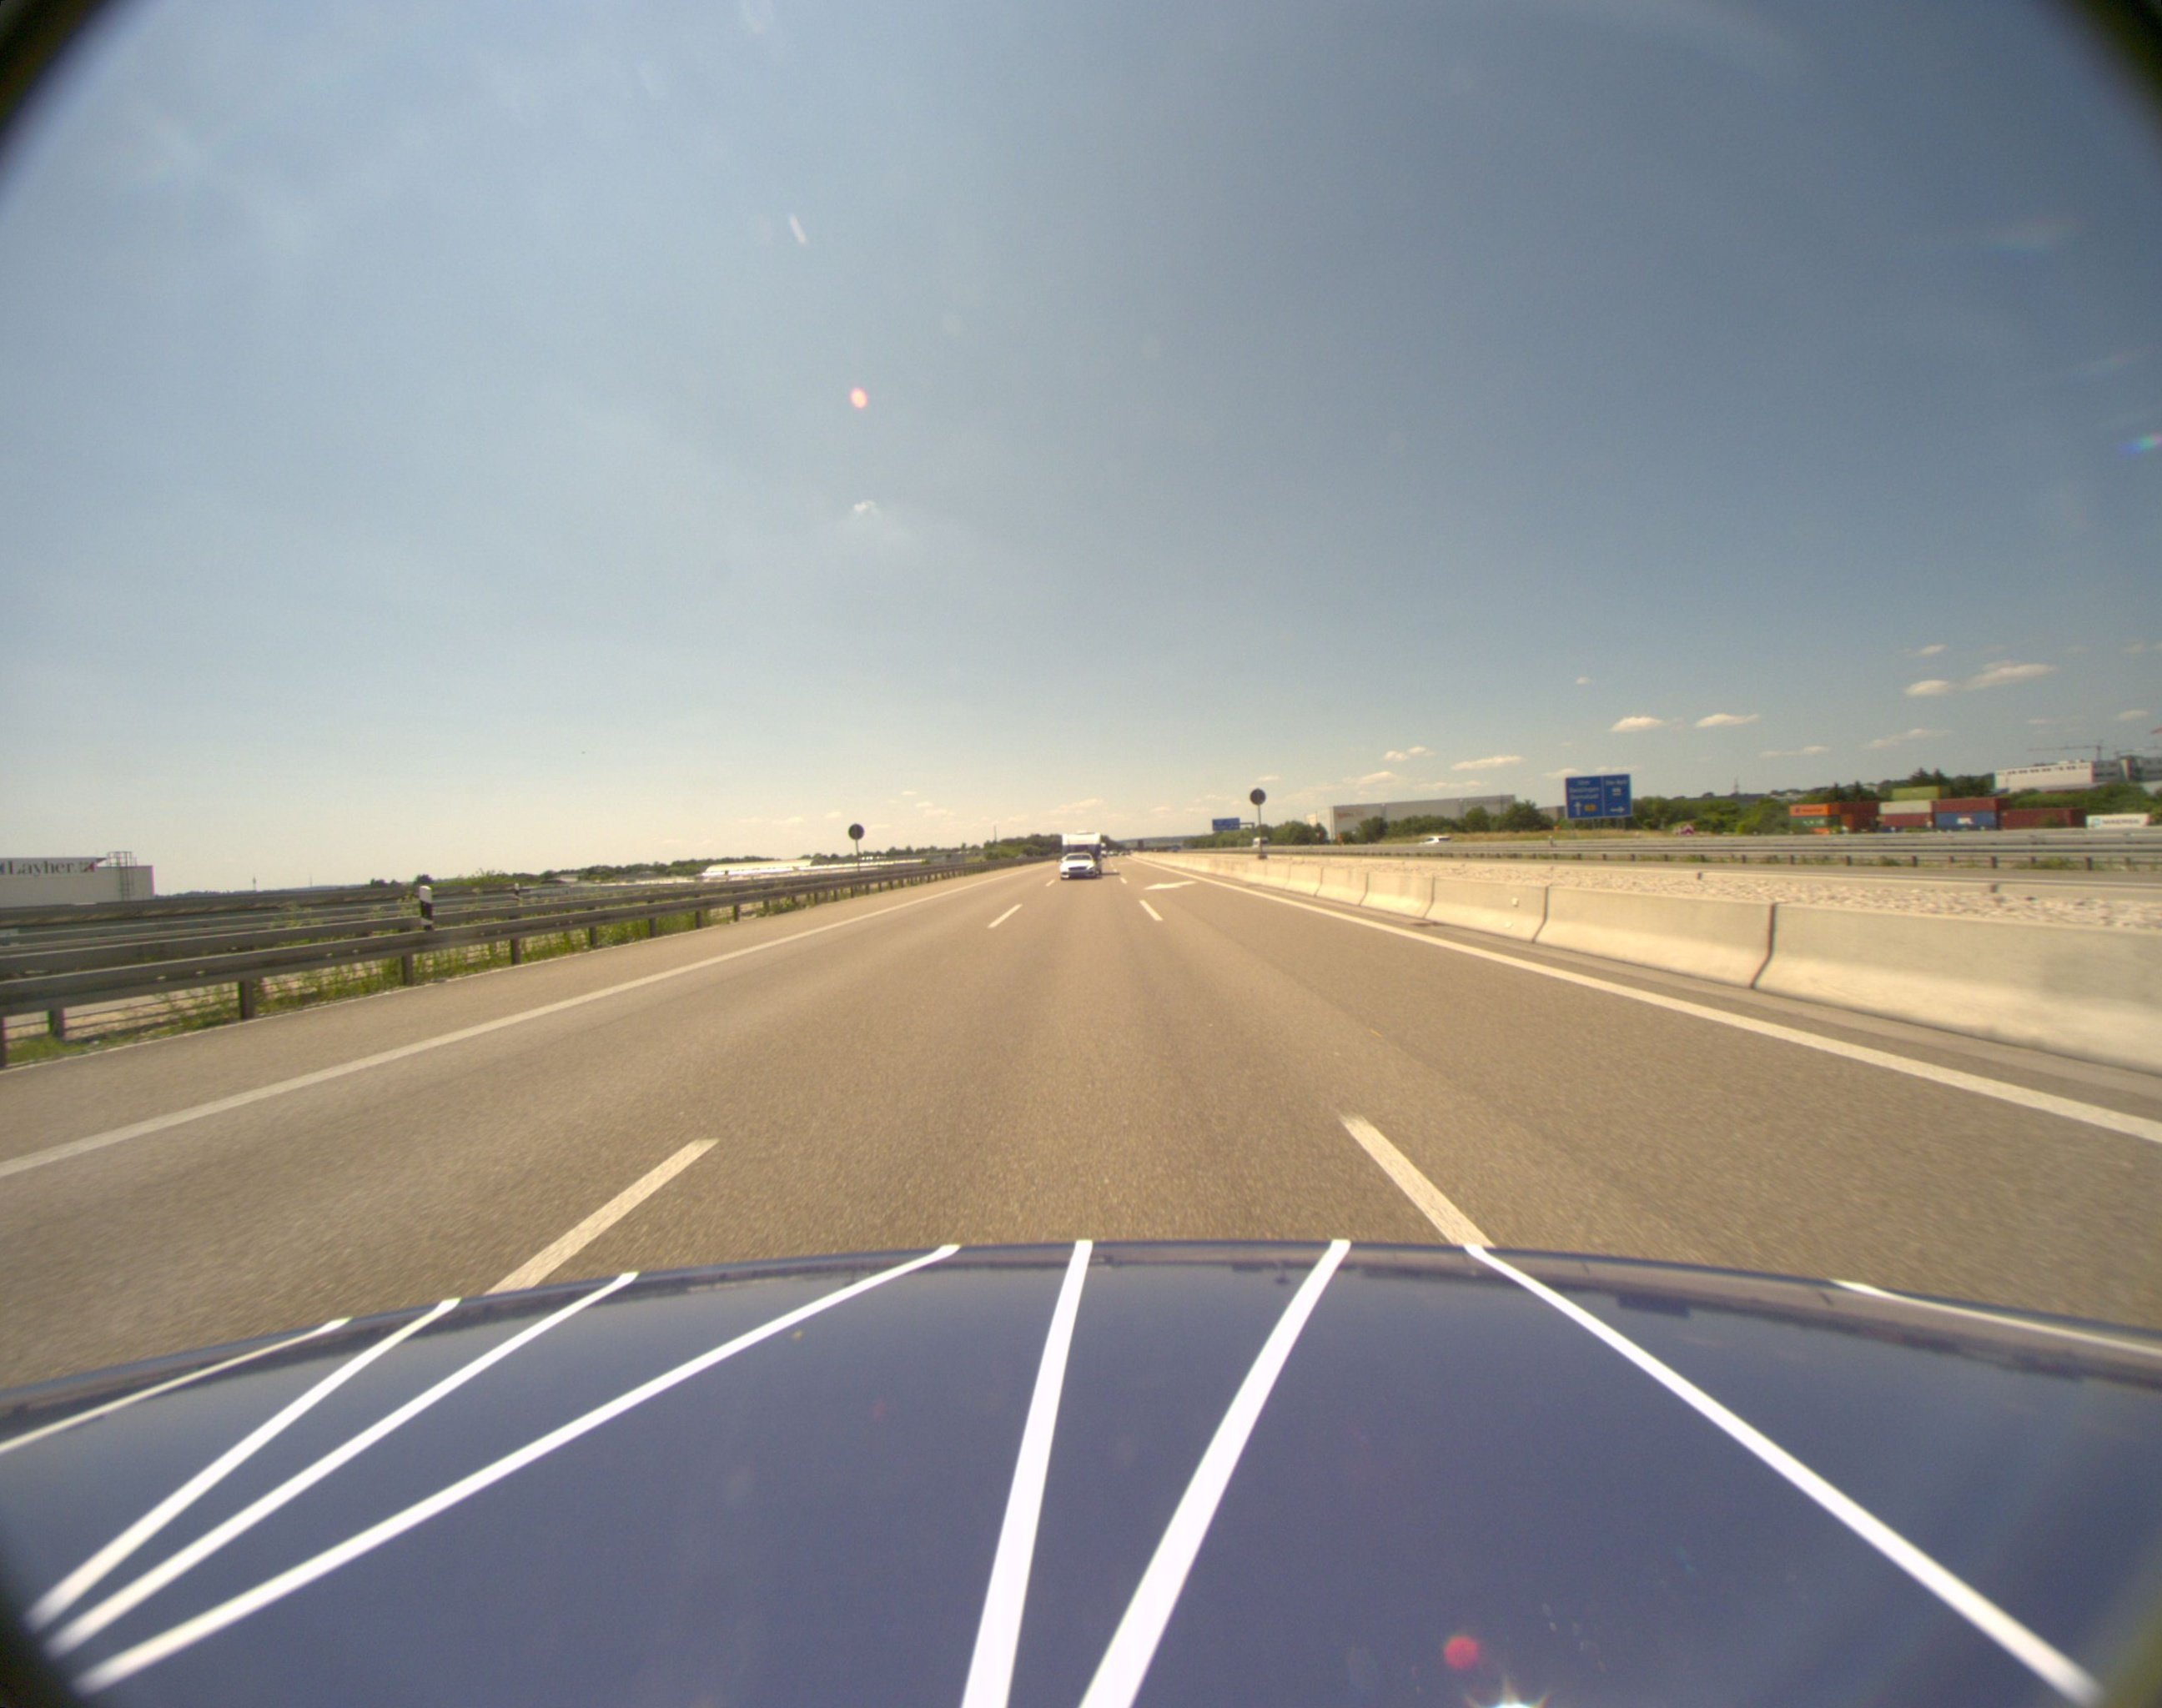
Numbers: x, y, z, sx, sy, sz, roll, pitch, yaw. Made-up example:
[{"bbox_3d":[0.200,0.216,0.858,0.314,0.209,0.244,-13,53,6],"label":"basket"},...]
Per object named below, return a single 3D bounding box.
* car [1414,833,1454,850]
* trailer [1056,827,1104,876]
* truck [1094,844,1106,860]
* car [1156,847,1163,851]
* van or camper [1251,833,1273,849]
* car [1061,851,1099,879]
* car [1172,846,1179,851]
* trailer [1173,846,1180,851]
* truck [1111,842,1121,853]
[{"bbox_3d":[30.833,-1.105,66.457,1.567,1.371,4.362,-2,1,2],"label":"car"},{"bbox_3d":[0.058,-0.170,46.103,2.500,2.686,7.155,-2,1,2],"label":"trailer"},{"bbox_3d":[3.566,-0.422,142.808,2.168,2.797,6.489,-3,1,1],"label":"truck"},{"bbox_3d":[27.357,-1.708,264.838,2.036,1.464,4.372,-2,0,3],"label":"car"},{"bbox_3d":[34.213,-2.423,143.930,2.552,2.805,7.541,-2,1,1],"label":"van or camper"},{"bbox_3d":[-0.026,0.573,40.729,1.872,1.352,3.672,-1,1,2],"label":"car"},{"bbox_3d":[28.803,-1.646,231.434,1.796,1.541,4.000,-2,0,2],"label":"car"},{"bbox_3d":[28.636,-1.575,227.596,1.760,1.427,3.683,-1,1,3],"label":"trailer"},{"bbox_3d":[9.251,-1.798,199.287,2.168,2.797,6.491,-2,1,4],"label":"truck"}]
